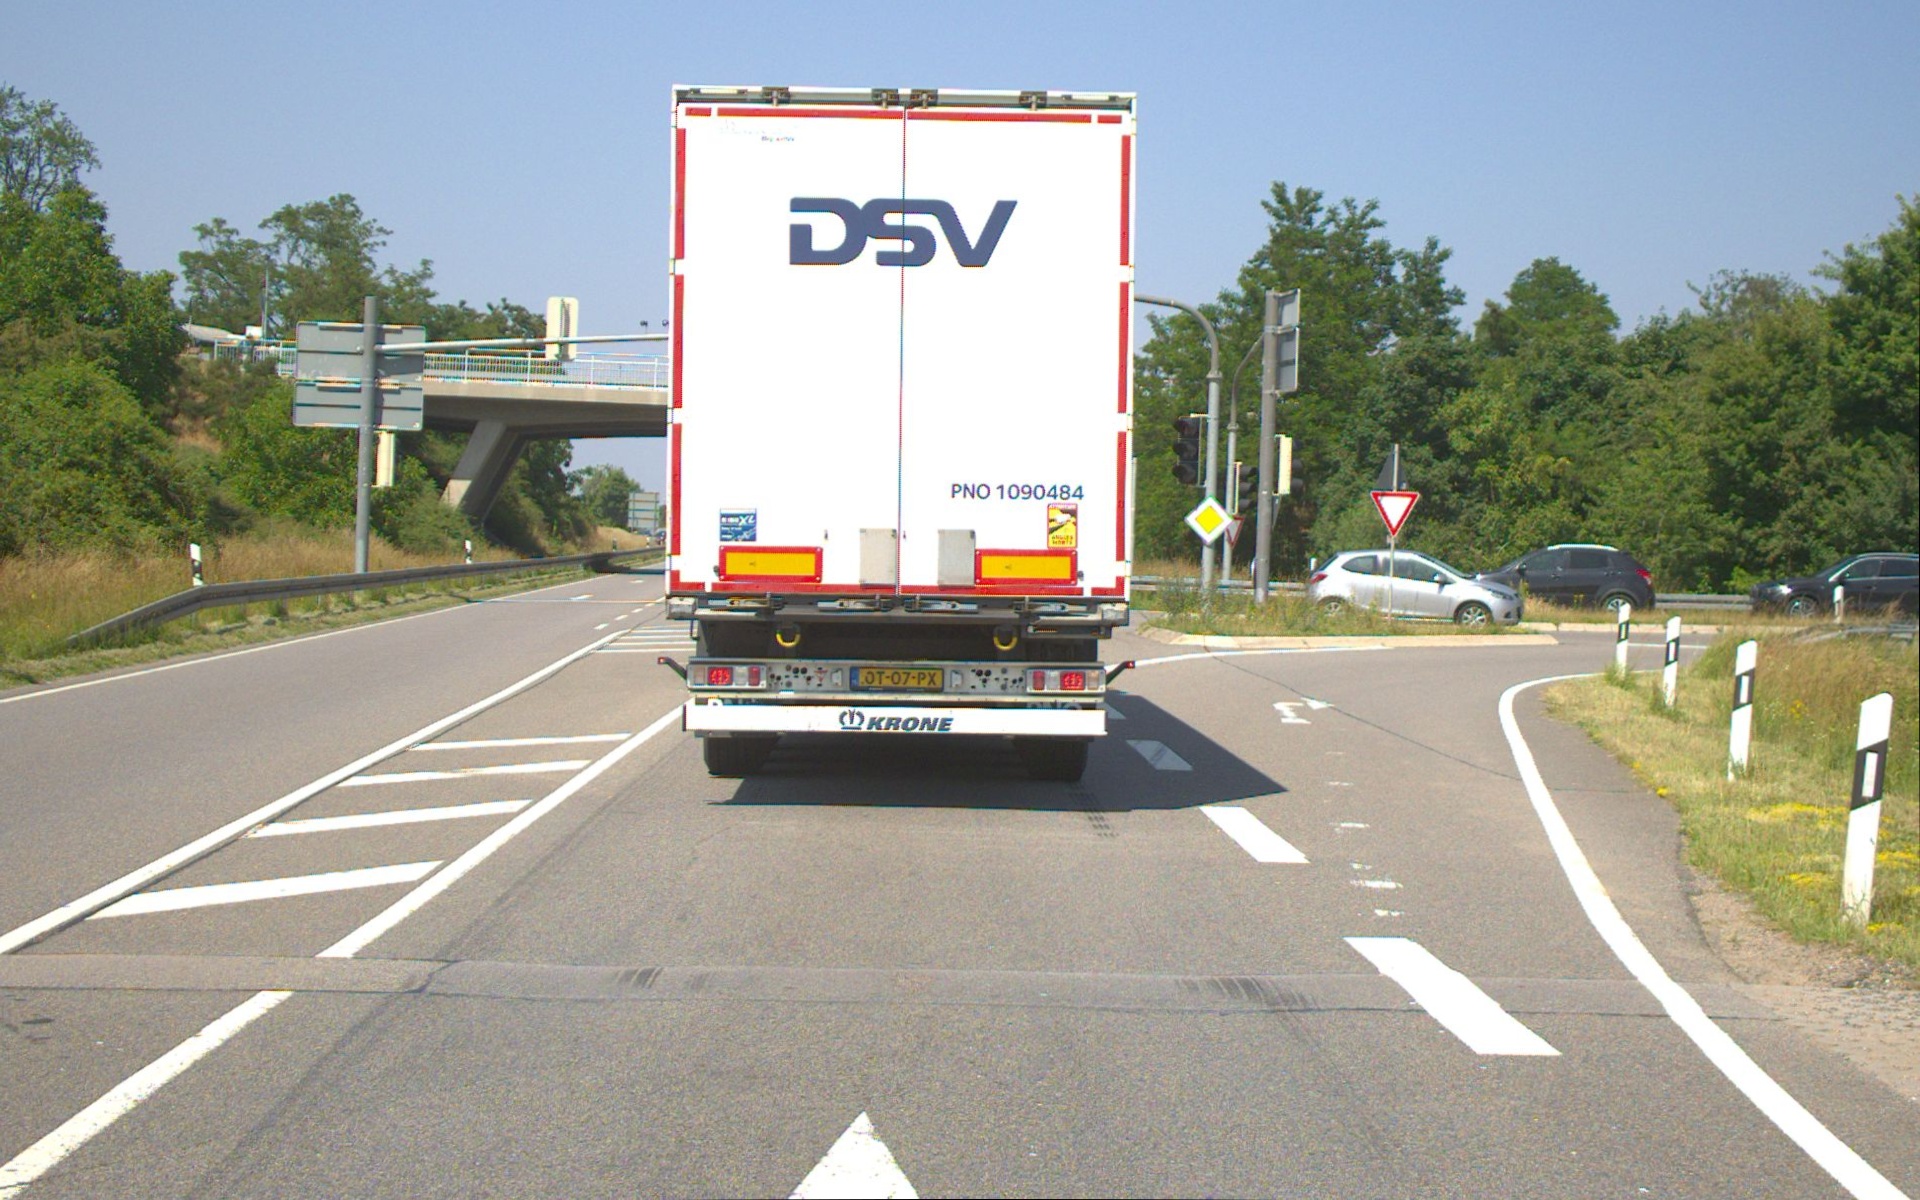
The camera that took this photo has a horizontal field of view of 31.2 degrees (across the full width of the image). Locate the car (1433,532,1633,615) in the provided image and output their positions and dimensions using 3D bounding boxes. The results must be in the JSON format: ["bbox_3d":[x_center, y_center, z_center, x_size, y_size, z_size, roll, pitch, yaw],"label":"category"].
[{"bbox_3d":[11.972,-0.553,72.075,3.986,1.634,1.841,1,0,6],"label":"car"}]

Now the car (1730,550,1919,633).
[{"bbox_3d":[18.120,-0.169,69.998,4.486,1.592,1.767,1,0,3],"label":"car"}]

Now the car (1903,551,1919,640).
[{"bbox_3d":[19.256,-0.038,61.069,4.468,1.561,1.740,1,0,-4],"label":"car"}]

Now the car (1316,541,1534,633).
[{"bbox_3d":[8.362,-0.240,61.707,3.684,1.561,1.738,1,0,14],"label":"car"}]

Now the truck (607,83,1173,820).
[{"bbox_3d":[-0.445,-0.871,23.535,2.987,3.928,9.876,1,1,-1],"label":"truck"}]
